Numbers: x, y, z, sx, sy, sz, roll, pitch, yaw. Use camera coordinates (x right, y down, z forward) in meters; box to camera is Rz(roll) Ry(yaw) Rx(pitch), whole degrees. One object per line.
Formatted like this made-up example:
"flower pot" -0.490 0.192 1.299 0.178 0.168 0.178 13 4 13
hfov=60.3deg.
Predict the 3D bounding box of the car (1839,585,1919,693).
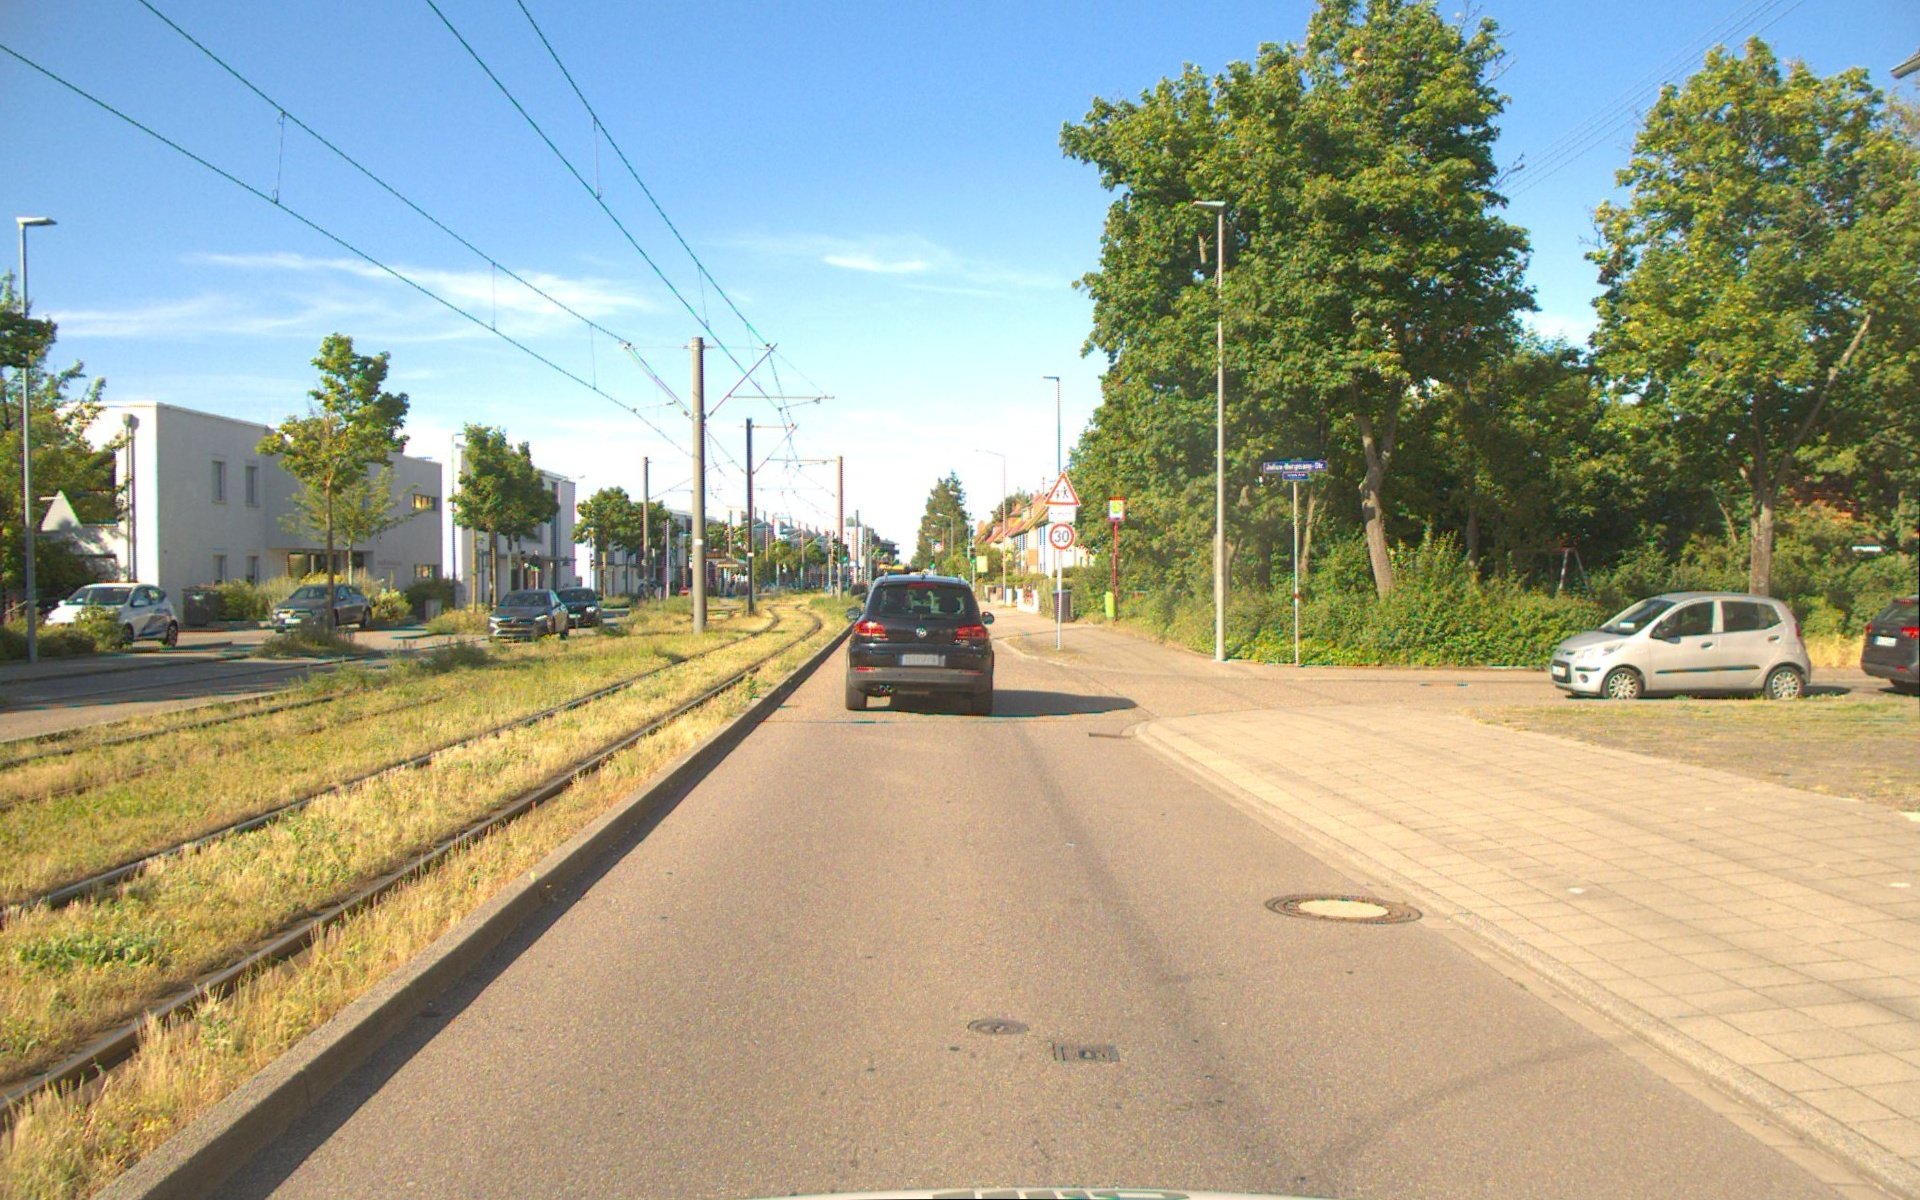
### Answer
"car" 15.329 0.533 24.306 3.920 1.523 1.744 0 0 -1

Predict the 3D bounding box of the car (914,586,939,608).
"car" -2.659 -0.236 129.479 1.741 1.699 3.997 0 0 -4

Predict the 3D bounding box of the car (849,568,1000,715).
"car" -0.547 0.477 21.342 1.741 1.699 3.997 1 0 -4

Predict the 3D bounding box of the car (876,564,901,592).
"car" -6.823 -2.071 158.198 2.346 2.609 5.528 0 0 -2

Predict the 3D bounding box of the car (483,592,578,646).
"car" -12.149 0.501 47.058 1.654 1.413 4.386 -2 0 -2

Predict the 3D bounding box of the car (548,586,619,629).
"car" -14.053 0.264 61.926 1.727 1.469 4.914 -2 0 -3

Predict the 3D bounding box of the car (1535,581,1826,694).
"car" 10.435 0.531 24.124 3.521 1.557 1.647 -1 0 -1

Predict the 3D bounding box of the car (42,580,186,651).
"car" -19.275 0.337 37.847 1.513 1.517 3.773 1 0 -3

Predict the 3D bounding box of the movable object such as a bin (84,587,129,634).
"movable object such as a bin" -27.024 0.314 52.376 0.650 1.458 1.255 1 0 6

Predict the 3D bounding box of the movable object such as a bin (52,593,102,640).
"movable object such as a bin" -27.115 0.494 50.804 0.650 1.407 1.422 1 0 6

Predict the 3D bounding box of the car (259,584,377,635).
"car" -19.718 0.265 50.973 1.773 1.486 4.319 1 0 2
